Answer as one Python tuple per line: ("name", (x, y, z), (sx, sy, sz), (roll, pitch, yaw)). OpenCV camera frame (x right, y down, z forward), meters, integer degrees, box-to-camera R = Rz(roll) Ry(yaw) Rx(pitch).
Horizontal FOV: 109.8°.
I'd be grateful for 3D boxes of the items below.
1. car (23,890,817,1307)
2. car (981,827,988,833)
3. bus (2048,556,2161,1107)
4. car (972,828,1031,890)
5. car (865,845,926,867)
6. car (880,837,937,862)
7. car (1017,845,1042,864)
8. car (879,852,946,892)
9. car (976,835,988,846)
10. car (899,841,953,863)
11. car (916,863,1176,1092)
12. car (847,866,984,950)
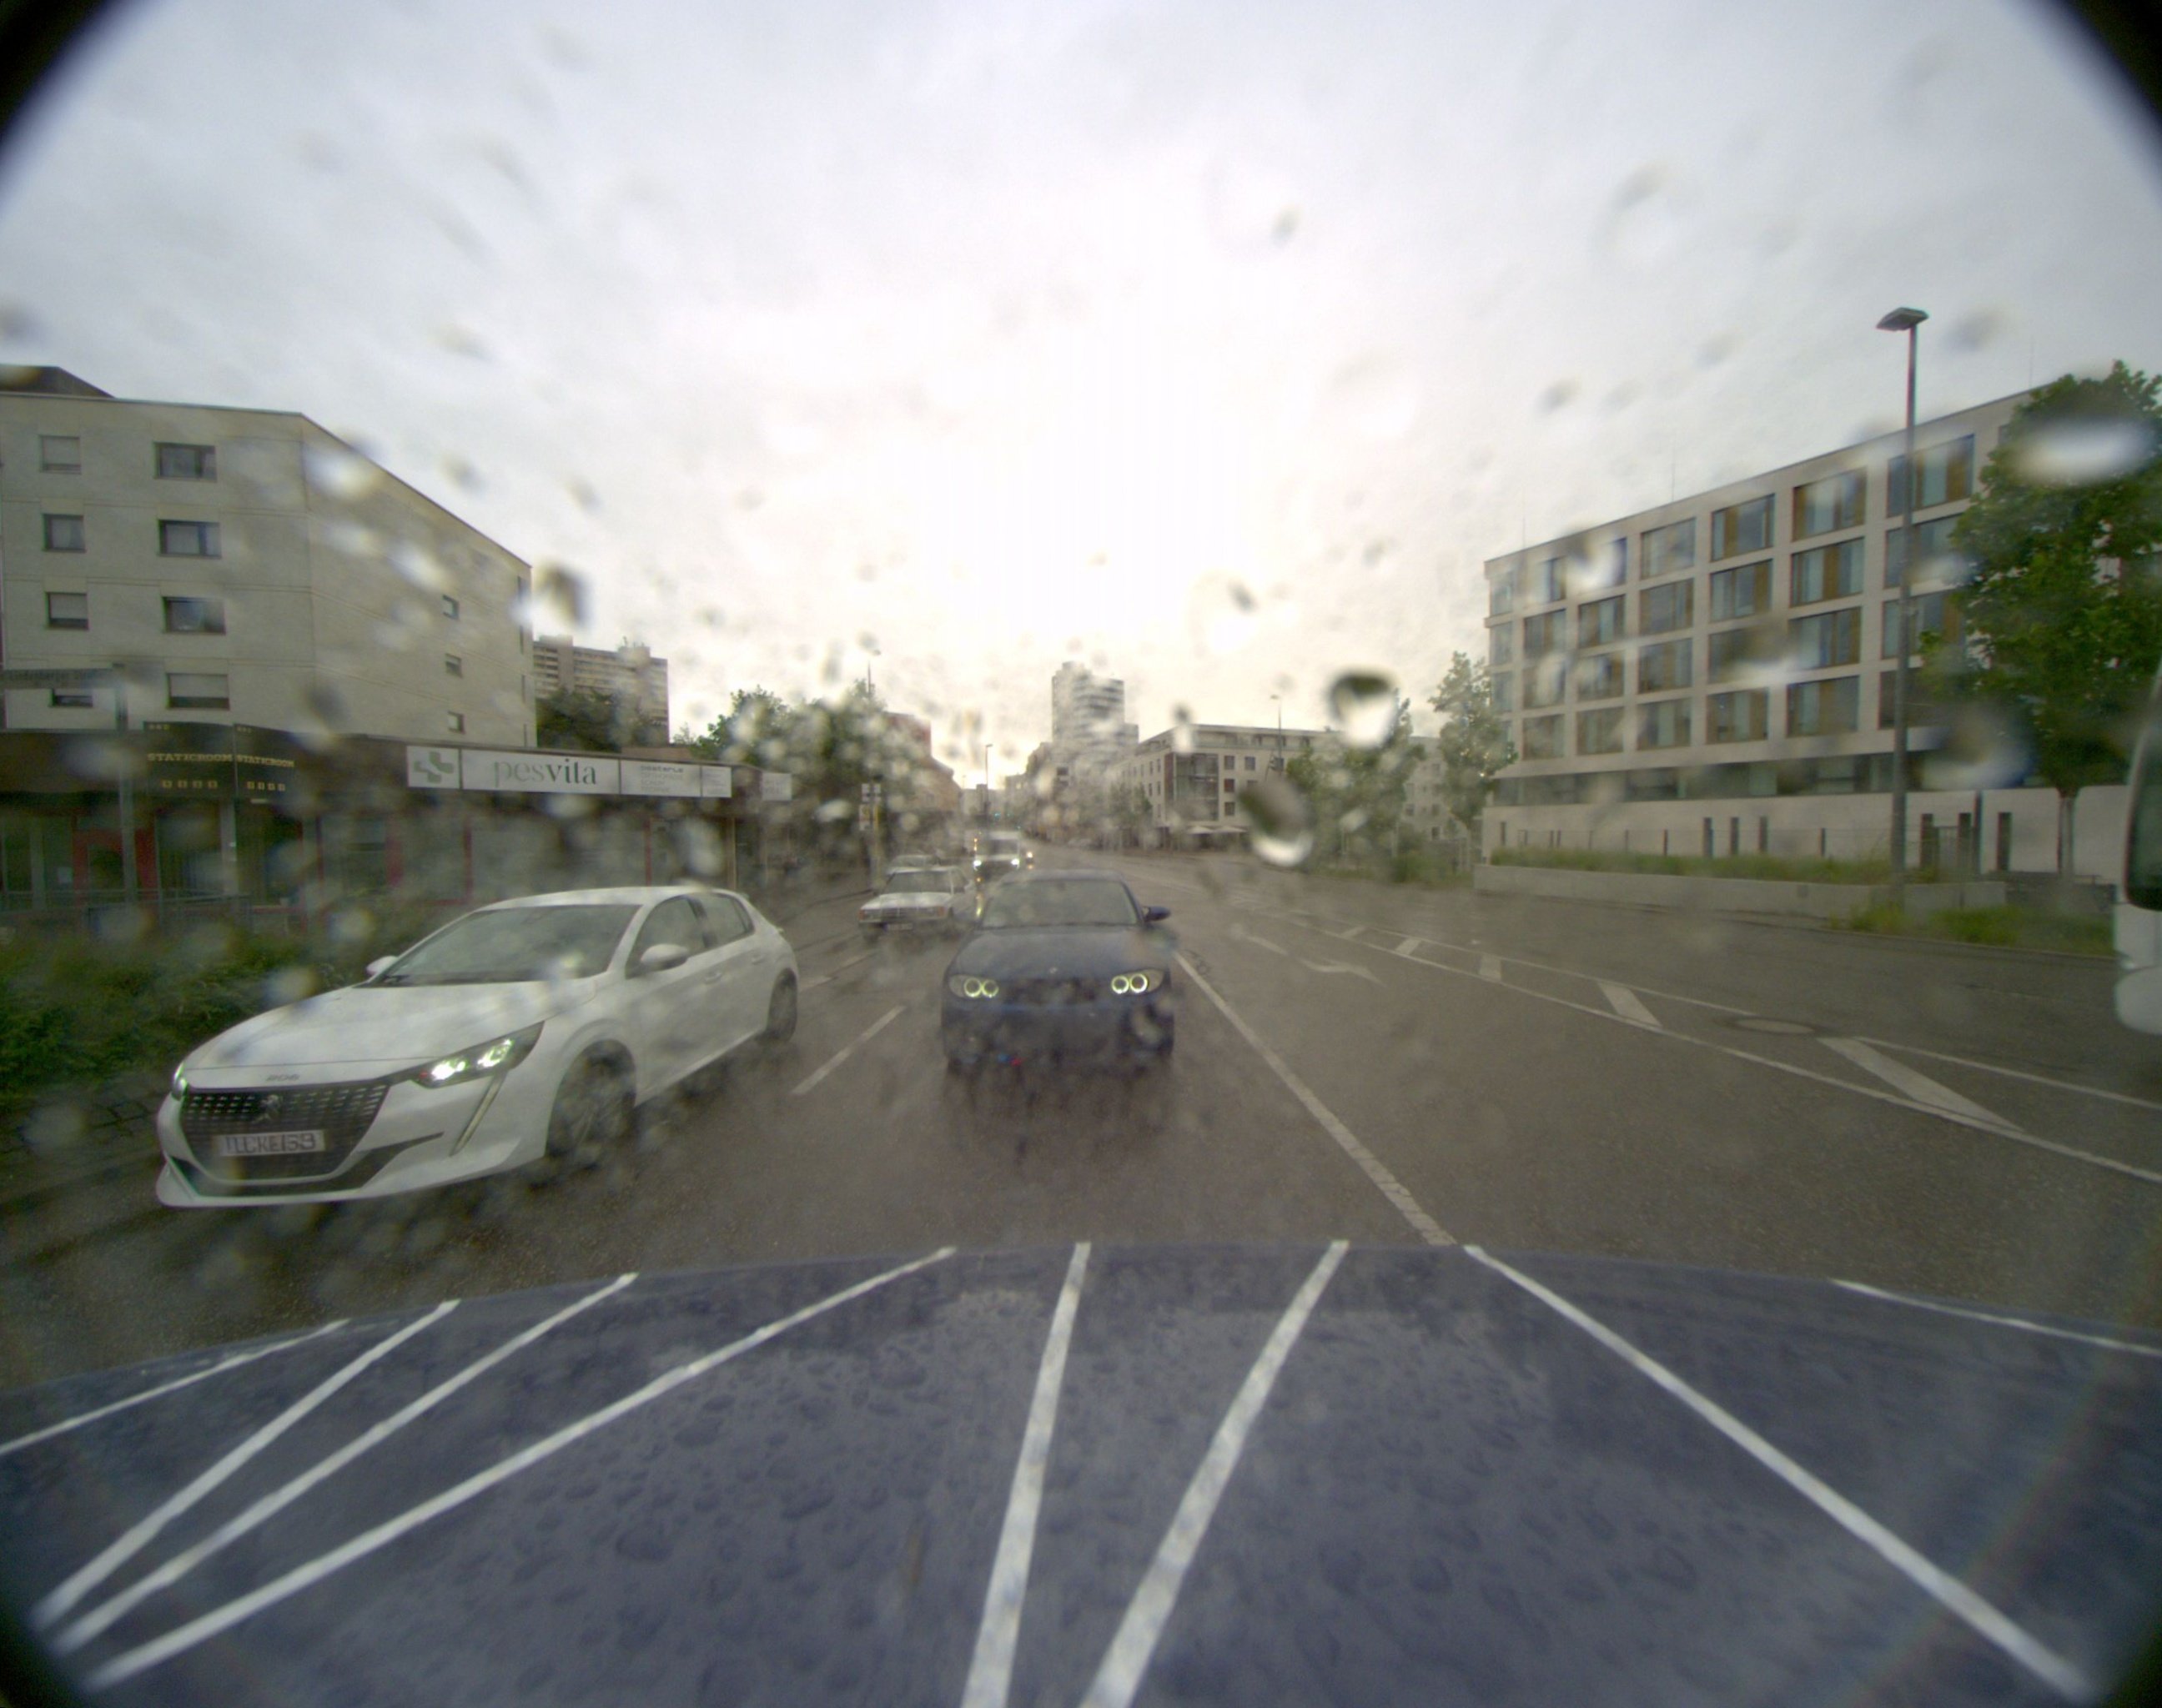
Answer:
("car", (-3.370, 1.087, 5.115), (1.666, 1.407, 4.114), (-2, 1, 1))
("car", (-26.923, -6.667, 212.253), (1.666, 1.625, 3.801), (-2, 1, -11))
("bus", (8.763, -0.104, 0.956), (2.803, 3.096, 8.867), (-1, 1, -20))
("car", (-3.499, 0.151, 34.710), (2.197, 2.503, 6.120), (-1, 1, -2))
("car", (-12.872, 0.135, 53.041), (4.000, 1.419, 1.882), (-1, 1, -10))
("car", (-12.560, -0.350, 55.542), (4.000, 1.769, 1.882), (-1, 1, -10))
("car", (-4.414, 0.025, 65.592), (1.803, 1.530, 3.999), (-2, 1, 1))
("car", (-6.909, 0.708, 31.571), (1.788, 1.481, 4.000), (-2, 1, 1))
("car", (-18.728, -2.486, 144.030), (2.000, 2.002, 3.997), (-2, 1, -6))
("car", (-12.010, -0.140, 58.951), (4.000, 1.584, 1.883), (-1, -1, -10))
("car", (-0.275, 0.845, 7.057), (1.693, 1.380, 3.999), (-2, 1, -1))
("car", (-3.238, 1.004, 15.720), (1.788, 1.338, 4.162), (-2, 1, 1))
